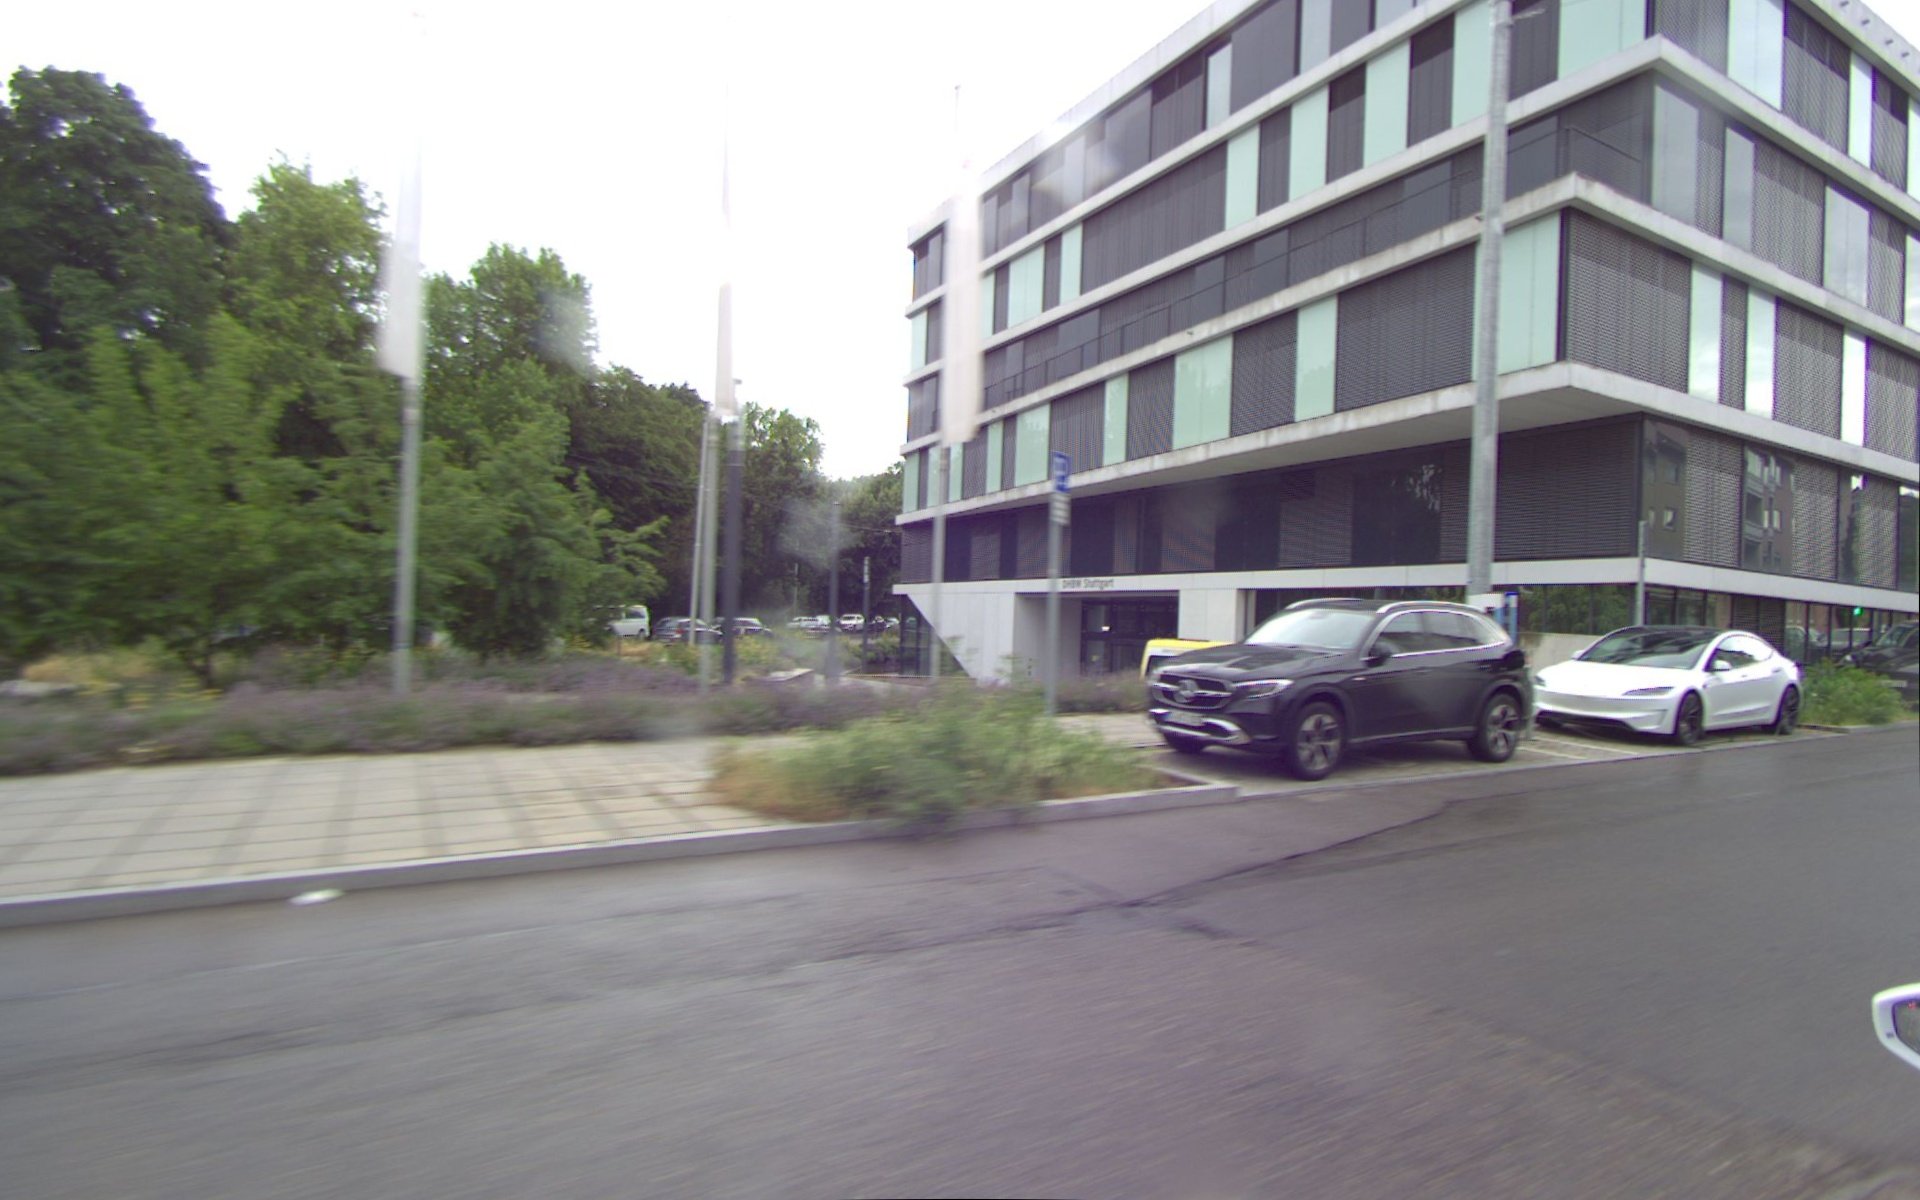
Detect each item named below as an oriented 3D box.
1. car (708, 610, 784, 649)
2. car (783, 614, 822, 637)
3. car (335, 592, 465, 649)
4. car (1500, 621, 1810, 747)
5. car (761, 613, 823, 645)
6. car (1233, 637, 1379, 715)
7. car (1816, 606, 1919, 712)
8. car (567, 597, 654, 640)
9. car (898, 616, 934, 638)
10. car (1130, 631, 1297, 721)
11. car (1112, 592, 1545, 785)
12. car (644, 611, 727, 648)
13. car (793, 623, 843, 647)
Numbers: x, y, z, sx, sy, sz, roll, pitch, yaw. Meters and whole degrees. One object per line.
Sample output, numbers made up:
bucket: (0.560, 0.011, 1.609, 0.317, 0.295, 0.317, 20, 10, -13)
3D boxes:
car: (-10.656, 1.445, 50.252, 1.883, 1.762, 4.000, 2, 0, 19)
car: (-12.201, 1.932, 77.915, 1.711, 1.628, 3.868, 2, 0, 11)
car: (-22.150, 0.794, 39.923, 2.035, 2.070, 4.281, 2, 0, 17)
car: (9.594, 1.078, 13.804, 4.350, 1.437, 1.812, 2, 0, -30)
car: (-9.155, 1.559, 54.887, 1.770, 1.609, 3.679, 2, 0, 19)
car: (10.727, 2.308, 31.489, 1.579, 2.059, 4.322, 2, 0, -29)
car: (18.349, 1.094, 18.735, 4.880, 1.773, 1.955, 2, 0, -28)
car: (-18.444, 0.953, 53.299, 2.125, 2.124, 4.841, 2, 0, 11)
car: (-3.154, 1.940, 72.922, 1.413, 1.514, 3.639, 1, 0, 19)
car: (7.320, 2.132, 29.424, 1.912, 2.203, 4.559, 2, 0, -35)
car: (3.942, 0.820, 10.551, 4.438, 1.639, 1.840, 2, 0, -30)
car: (-12.063, 1.274, 44.361, 1.635, 1.469, 3.869, 2, 0, 19)
car: (-8.249, 2.001, 58.606, 1.452, 1.258, 3.401, 2, 0, 19)
